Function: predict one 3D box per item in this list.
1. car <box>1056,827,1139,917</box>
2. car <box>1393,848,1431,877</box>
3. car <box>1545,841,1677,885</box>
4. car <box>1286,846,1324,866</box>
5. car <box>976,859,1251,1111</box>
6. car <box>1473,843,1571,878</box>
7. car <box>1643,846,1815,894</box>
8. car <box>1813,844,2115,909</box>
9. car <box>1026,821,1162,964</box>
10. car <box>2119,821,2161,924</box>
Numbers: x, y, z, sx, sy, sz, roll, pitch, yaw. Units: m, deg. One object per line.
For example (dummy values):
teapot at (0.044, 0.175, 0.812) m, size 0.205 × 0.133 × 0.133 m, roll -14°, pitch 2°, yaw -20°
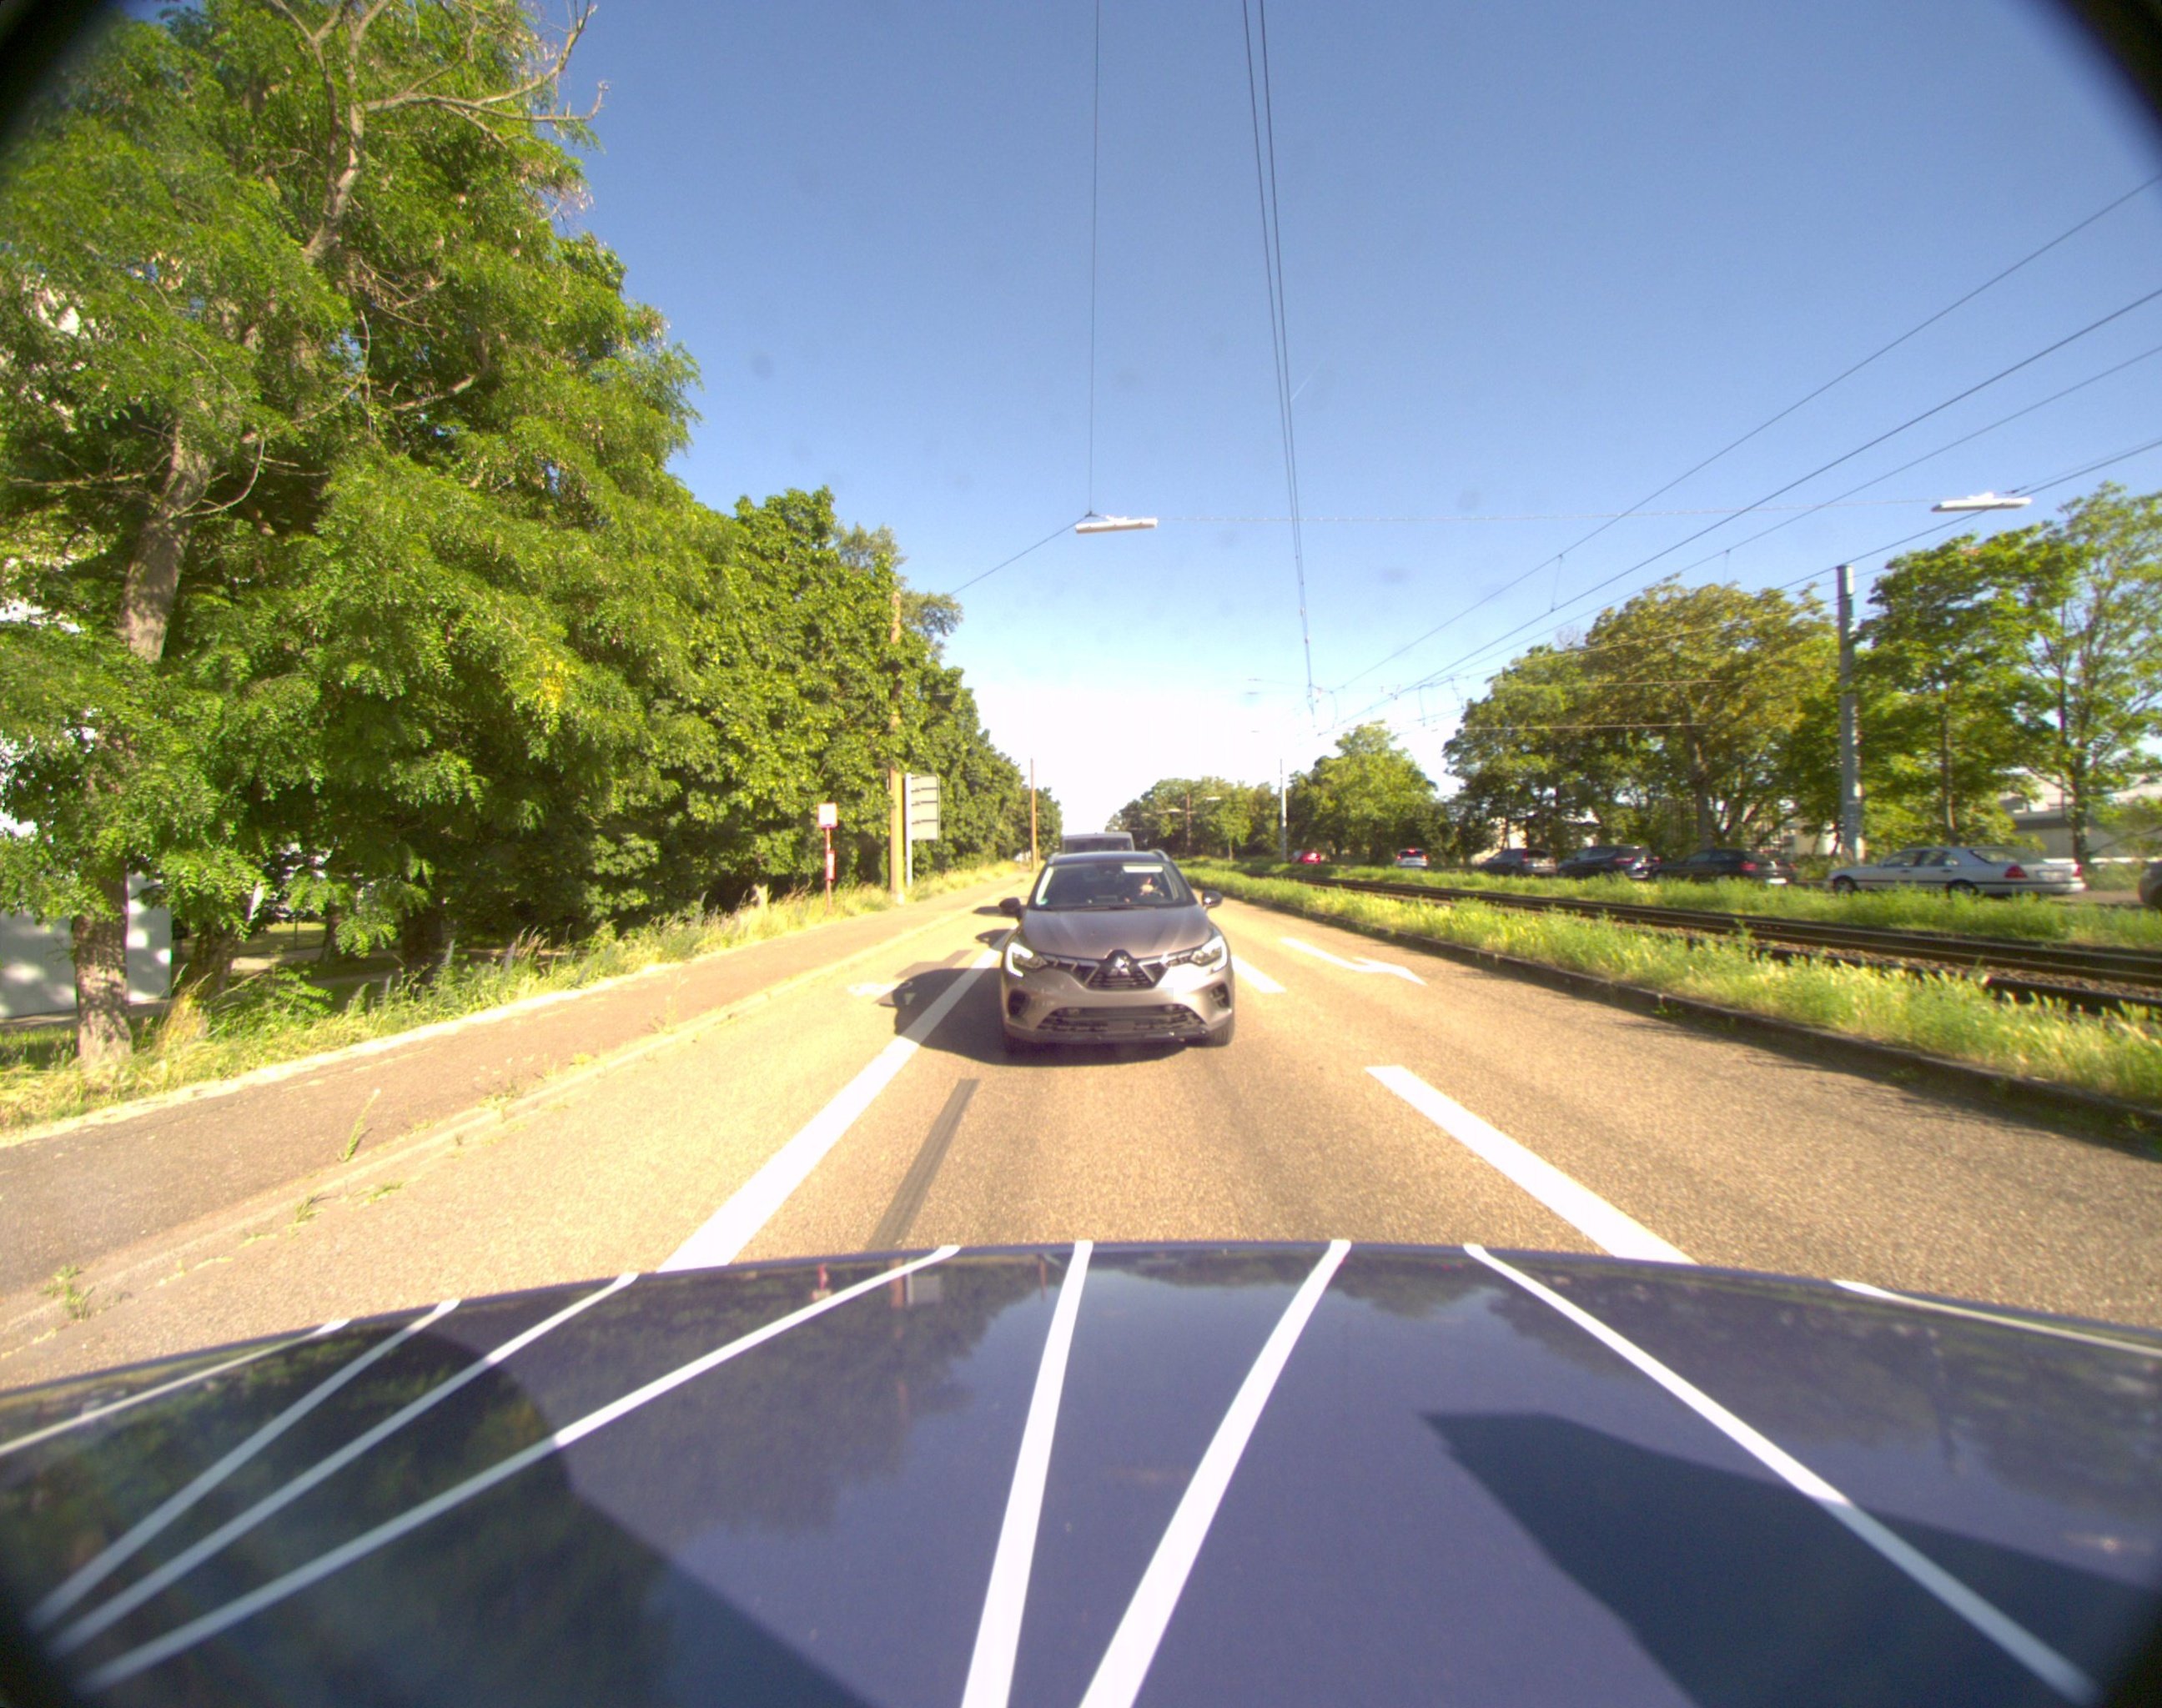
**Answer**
car at (0.352, 0.478, 21.110) m, size 1.999 × 2.198 × 4.786 m, roll -1°, pitch -1°, yaw -1°
car at (19.080, 0.441, 43.785) m, size 1.857 × 1.548 × 4.163 m, roll -2°, pitch 0°, yaw 24°
car at (21.304, 0.344, 30.820) m, size 2.130 × 1.578 × 4.616 m, roll -2°, pitch 0°, yaw 1°
car at (20.999, 0.186, 71.461) m, size 2.321 × 1.723 × 4.798 m, roll -2°, pitch 0°, yaw 3°
car at (0.177, 0.883, 7.312) m, size 1.796 × 1.583 × 4.529 m, roll -1°, pitch 0°, yaw -1°
car at (21.562, 0.328, 37.402) m, size 2.130 × 1.554 × 4.560 m, roll -2°, pitch 0°, yaw 0°
car at (21.342, 0.491, 25.323) m, size 1.960 × 1.417 × 4.488 m, roll -2°, pitch 0°, yaw 1°
car at (21.542, 0.508, 18.929) m, size 2.130 × 1.372 × 4.616 m, roll -2°, pitch 0°, yaw -1°
car at (0.223, 0.595, 13.507) m, size 1.998 × 2.113 × 4.000 m, roll -2°, pitch 0°, yaw 1°
car at (21.229, 0.300, 12.408) m, size 2.207 × 1.923 × 4.685 m, roll -2°, pitch 0°, yaw 2°
